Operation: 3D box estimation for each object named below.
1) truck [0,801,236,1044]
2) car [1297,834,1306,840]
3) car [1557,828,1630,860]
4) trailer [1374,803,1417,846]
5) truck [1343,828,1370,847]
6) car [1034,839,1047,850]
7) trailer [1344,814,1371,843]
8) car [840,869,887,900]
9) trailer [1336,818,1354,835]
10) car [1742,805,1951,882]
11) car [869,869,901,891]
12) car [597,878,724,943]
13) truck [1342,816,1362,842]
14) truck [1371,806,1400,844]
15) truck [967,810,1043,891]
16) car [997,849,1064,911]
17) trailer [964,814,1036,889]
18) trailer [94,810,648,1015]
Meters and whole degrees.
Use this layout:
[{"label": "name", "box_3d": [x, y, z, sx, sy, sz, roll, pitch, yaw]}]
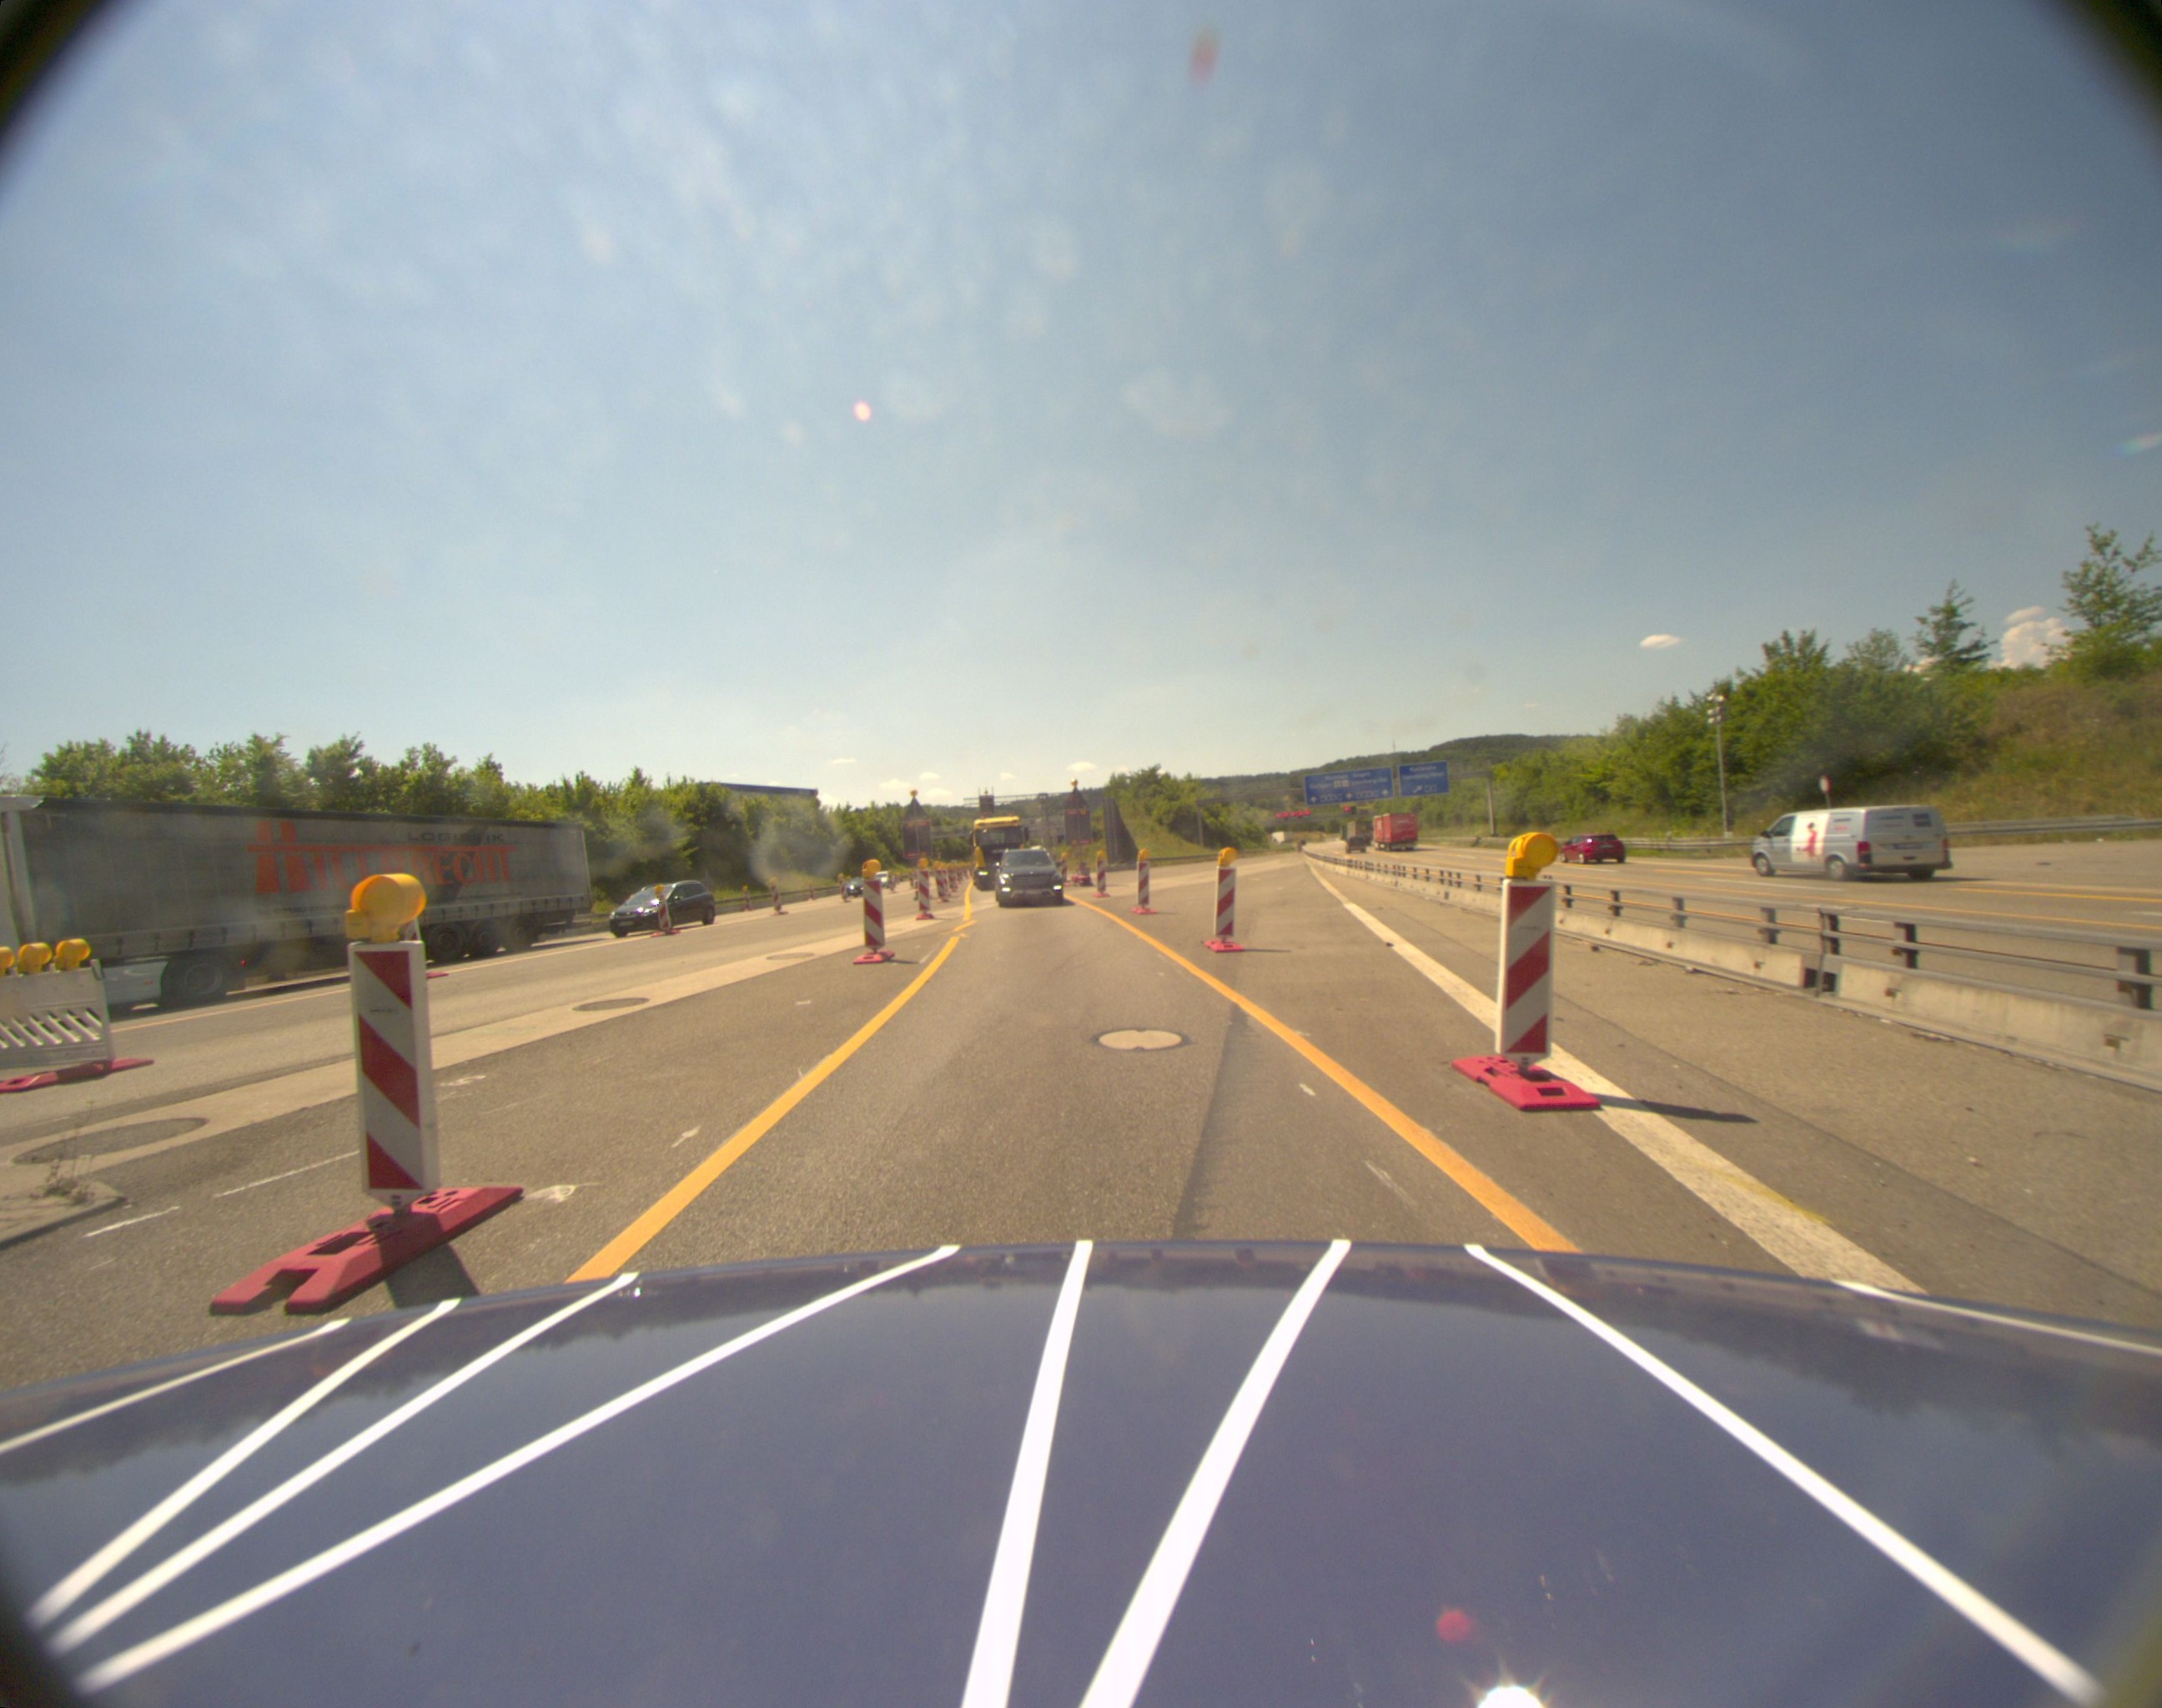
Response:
[{"label": "truck", "box_3d": [-18.706, 1.227, 12.611, 2.533, 3.928, 5.598, -7, 1, 2]}, {"label": "car", "box_3d": [55.668, -4.344, 191.738, 1.719, 1.482, 3.690, -4, 1, 11]}, {"label": "car", "box_3d": [24.537, -0.505, 36.502, 1.689, 1.387, 4.003, -2, 1, 15]}, {"label": "trailer", "box_3d": [33.817, -3.132, 82.239, 2.341, 4.079, 13.272, -4, 1, 15]}, {"label": "truck", "box_3d": [30.337, -1.814, 83.838, 1.997, 1.862, 4.765, -4, 0, 12]}, {"label": "car", "box_3d": [-8.582, -2.024, 160.394, 2.441, 2.081, 5.305, -7, 2, -1]}, {"label": "trailer", "box_3d": [45.217, -4.178, 124.685, 2.439, 4.272, 13.820, -4, 1, 14]}, {"label": "car", "box_3d": [-14.837, 2.028, 52.129, 1.820, 1.686, 4.492, -7, 1, -2]}, {"label": "trailer", "box_3d": [75.873, -7.979, 218.346, 3.551, 4.246, 13.919, -5, 1, 15]}, {"label": "car", "box_3d": [20.651, -0.326, 20.832, 1.690, 1.824, 4.791, -2, 1, 12]}, {"label": "car", "box_3d": [-18.393, 2.378, 71.419, 1.820, 1.686, 4.492, -6, 1, -2]}, {"label": "car", "box_3d": [-14.611, 1.880, 26.732, 1.820, 1.686, 4.492, -7, 1, -1]}, {"label": "truck", "box_3d": [46.801, -4.335, 131.219, 2.435, 4.245, 4.842, -4, 1, 14]}, {"label": "truck", "box_3d": [35.514, -3.346, 88.634, 2.337, 4.084, 5.021, -4, 1, 15]}, {"label": "truck", "box_3d": [-4.240, -0.141, 40.669, 3.232, 3.639, 7.078, -6, 0, -9]}, {"label": "car", "box_3d": [-1.702, 0.741, 24.018, 1.820, 1.685, 4.490, -3, 1, -7]}, {"label": "trailer", "box_3d": [-5.622, 0.024, 48.969, 3.239, 3.646, 17.409, -6, 0, -9]}, {"label": "trailer", "box_3d": [-18.405, 1.127, 22.401, 2.546, 3.930, 13.868, -7, 0, 2]}]
